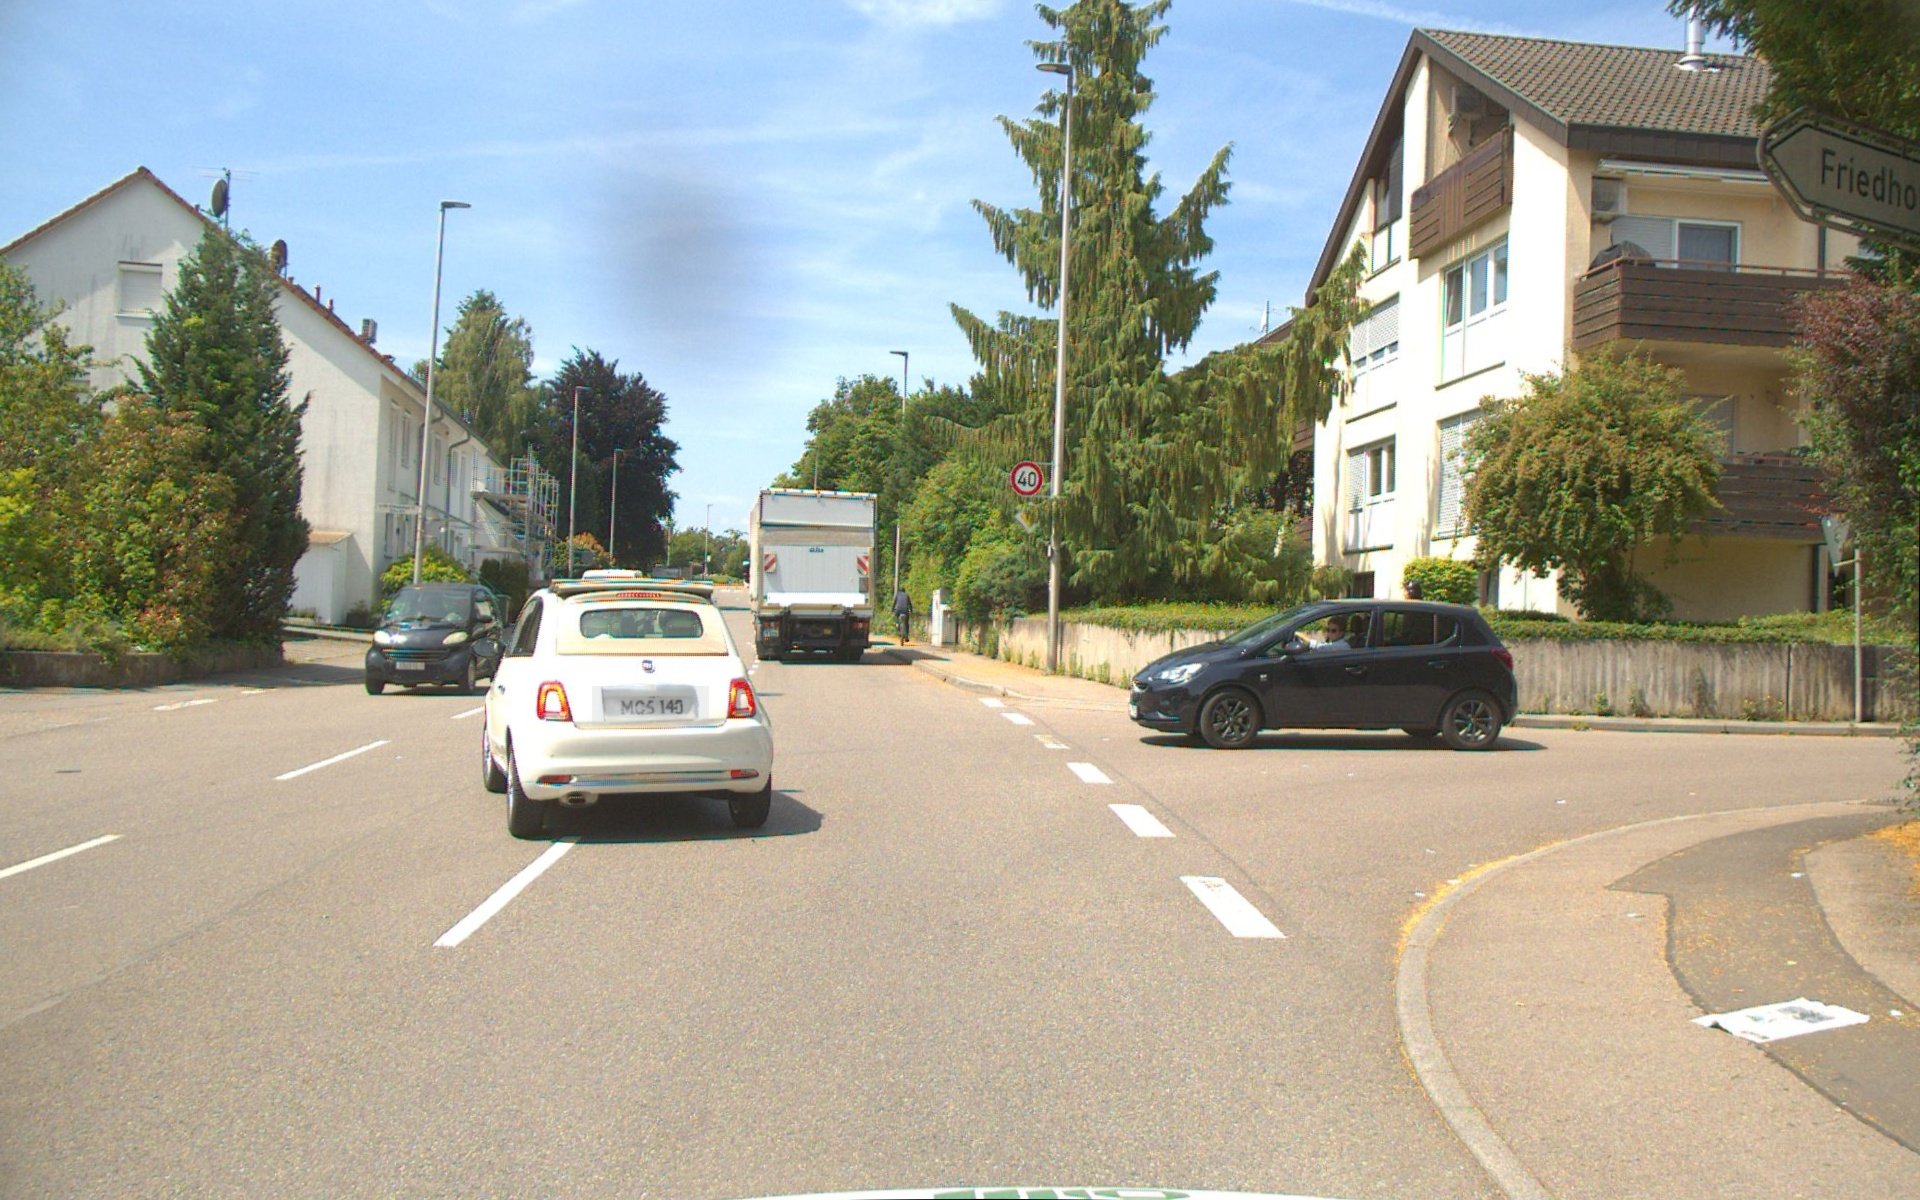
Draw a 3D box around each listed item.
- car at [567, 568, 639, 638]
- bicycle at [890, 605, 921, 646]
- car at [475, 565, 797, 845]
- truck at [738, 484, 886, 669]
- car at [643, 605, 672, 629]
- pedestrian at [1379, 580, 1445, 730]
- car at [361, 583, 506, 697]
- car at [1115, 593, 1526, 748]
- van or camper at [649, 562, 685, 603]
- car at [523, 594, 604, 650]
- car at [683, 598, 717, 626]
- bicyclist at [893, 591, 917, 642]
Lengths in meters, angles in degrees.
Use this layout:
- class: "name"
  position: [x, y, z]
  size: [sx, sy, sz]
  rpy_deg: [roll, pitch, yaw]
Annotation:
- class: "car"
  position: [-12.110, 0.103, 56.400]
  size: [1.999, 2.238, 5.571]
  rpy_deg: [1, 0, -9]
- class: "bicycle"
  position: [-1.592, 0.735, 47.801]
  size: [0.655, 1.123, 2.421]
  rpy_deg: [2, 0, -7]
- class: "car"
  position: [-2.418, 0.595, 11.542]
  size: [1.699, 1.587, 3.978]
  rpy_deg: [0, 0, -19]
- class: "truck"
  position: [-3.636, -0.484, 38.770]
  size: [3.011, 3.840, 7.853]
  rpy_deg: [1, 0, -8]
- class: "car"
  position: [-19.629, 1.121, 107.394]
  size: [1.447, 1.520, 3.079]
  rpy_deg: [1, 0, -2]
- class: "pedestrian"
  position: [5.259, 0.627, 19.235]
  size: [0.681, 1.701, 0.570]
  rpy_deg: [2, 0, 17]
- class: "car"
  position: [-7.540, 0.538, 23.886]
  size: [1.452, 1.537, 2.797]
  rpy_deg: [0, 0, -6]
- class: "car"
  position: [3.639, 0.699, 17.103]
  size: [3.855, 1.483, 1.657]
  rpy_deg: [1, 0, -3]
- class: "van or camper"
  position: [-23.068, -1.368, 130.393]
  size: [2.221, 3.014, 5.882]
  rpy_deg: [2, 0, -5]
- class: "car"
  position: [-10.630, 0.559, 44.548]
  size: [1.771, 1.422, 3.992]
  rpy_deg: [1, 0, -9]
- class: "car"
  position: [-15.316, 0.712, 97.550]
  size: [1.799, 1.561, 3.993]
  rpy_deg: [2, 0, -8]
- class: "bicyclist"
  position: [-1.585, 0.468, 47.752]
  size: [0.577, 1.437, 0.741]
  rpy_deg: [2, 0, -7]
